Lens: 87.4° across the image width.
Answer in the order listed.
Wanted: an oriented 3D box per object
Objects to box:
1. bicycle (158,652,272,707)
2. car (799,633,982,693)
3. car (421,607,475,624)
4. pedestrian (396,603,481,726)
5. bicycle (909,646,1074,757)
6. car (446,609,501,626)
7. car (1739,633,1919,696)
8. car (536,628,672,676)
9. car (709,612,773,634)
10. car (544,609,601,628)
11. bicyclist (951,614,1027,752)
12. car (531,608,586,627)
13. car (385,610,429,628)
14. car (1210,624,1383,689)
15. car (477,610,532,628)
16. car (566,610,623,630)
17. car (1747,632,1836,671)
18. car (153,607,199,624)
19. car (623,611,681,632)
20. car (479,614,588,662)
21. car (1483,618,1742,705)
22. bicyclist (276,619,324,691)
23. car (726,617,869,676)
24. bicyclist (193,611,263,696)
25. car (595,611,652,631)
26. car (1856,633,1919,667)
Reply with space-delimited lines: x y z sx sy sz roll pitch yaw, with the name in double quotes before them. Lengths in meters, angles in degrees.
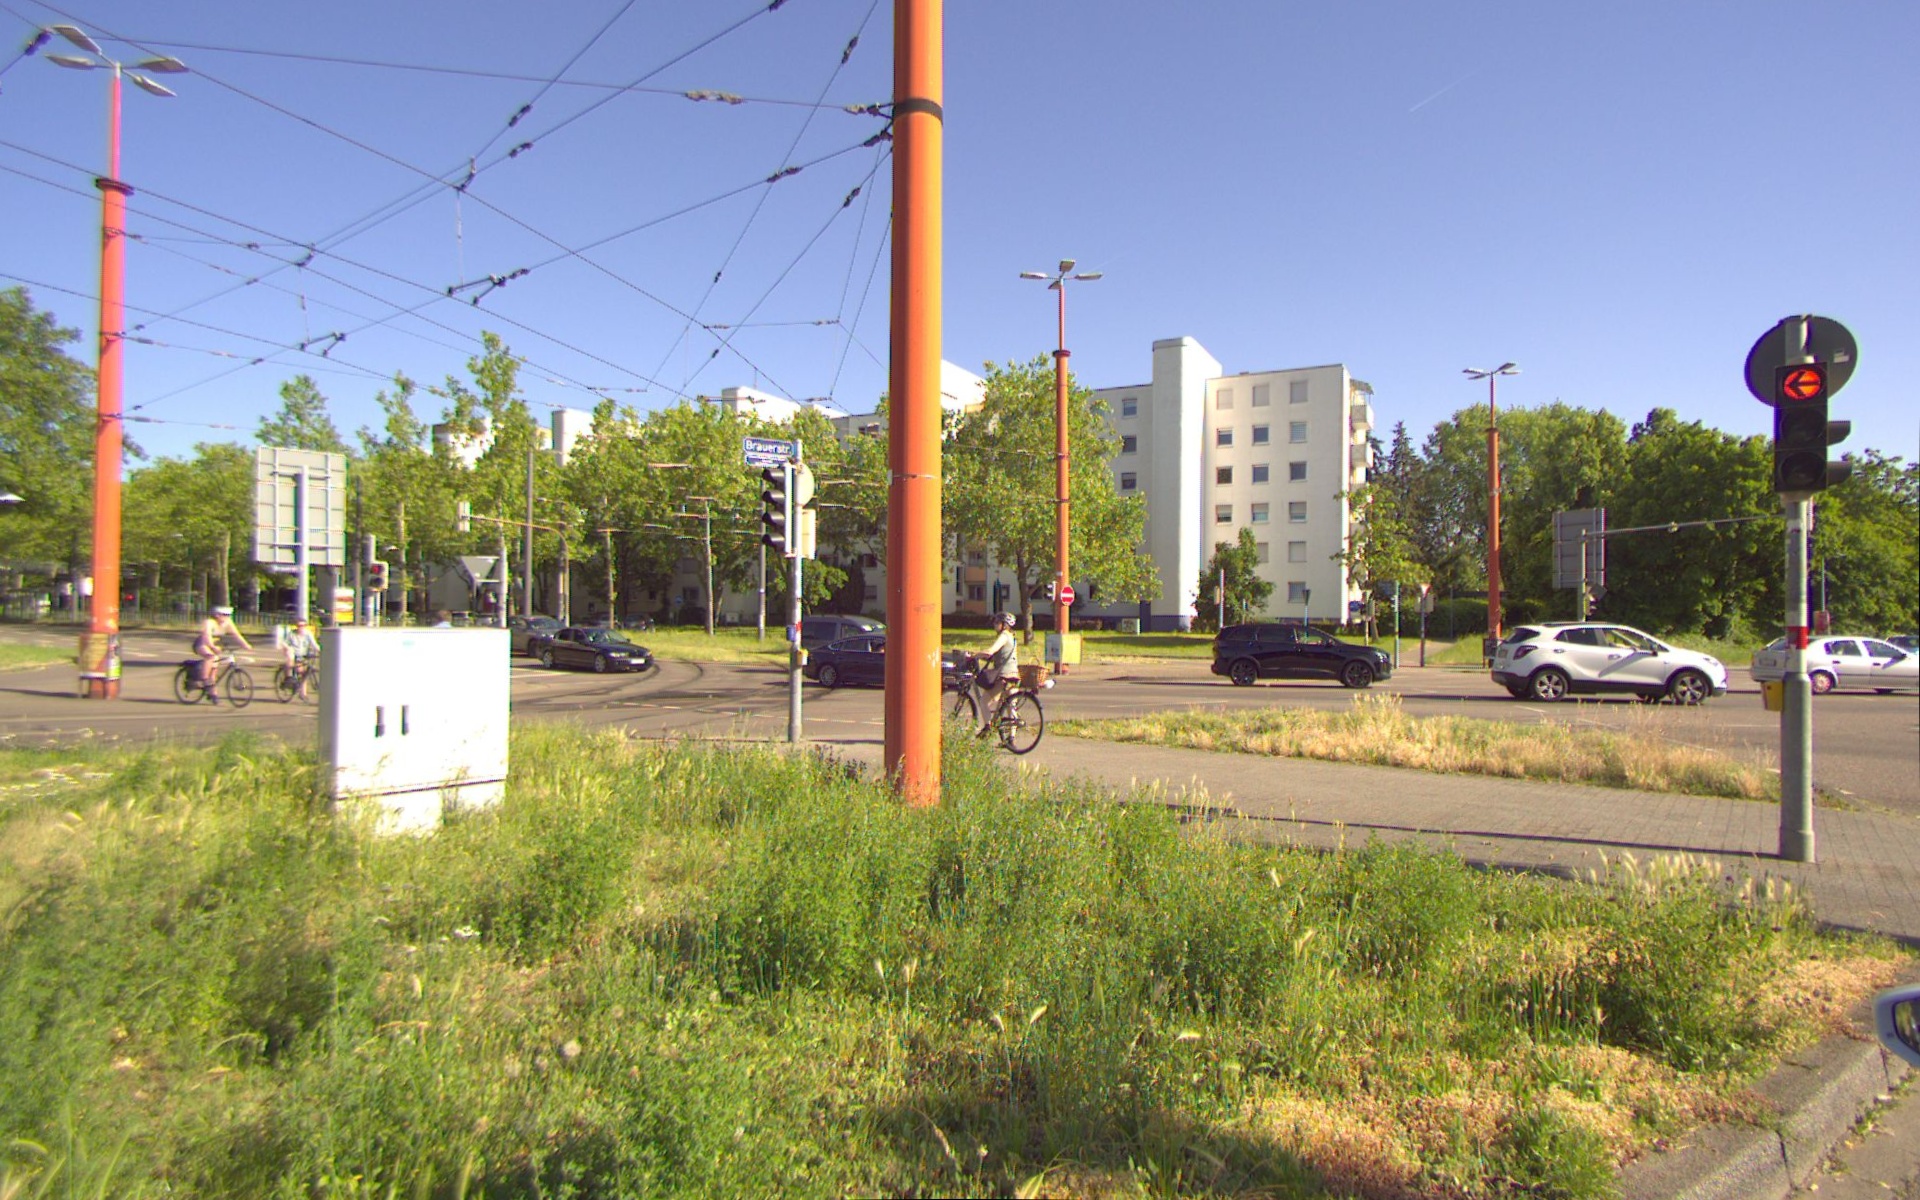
"bicycle" -14.051 1.489 18.962 1.612 0.974 0.685 1 -1 -1
"car" -1.749 1.549 25.462 4.277 1.368 1.765 0 -1 20
"car" -44.786 1.385 87.894 3.935 1.428 1.794 1 -1 -17
"pedestrian" -8.092 0.969 15.573 0.947 1.817 0.976 1 -1 -41
"bicycle" 0.362 1.183 12.190 1.915 1.210 0.690 0 -1 33
"car" -41.432 1.483 85.624 3.935 1.428 1.794 1 -1 -17
"car" 21.483 1.556 24.325 3.919 1.363 1.489 2 -1 8
"car" -11.302 1.598 31.811 4.286 1.368 1.762 0 -1 31
"car" -14.540 1.549 66.840 1.770 1.428 3.987 0 -1 35
"car" -30.073 1.416 78.073 3.934 1.428 1.794 1 -1 -16
"bicyclist" 0.357 0.978 12.196 0.651 1.605 0.671 0 -1 33
"car" -31.935 1.366 79.970 3.935 1.428 1.794 1 -1 -17
"car" -45.905 1.560 83.345 3.938 1.416 1.749 0 -2 38
"car" 8.790 1.451 26.572 4.176 1.566 1.859 0 -1 15
"car" -38.028 1.565 83.883 3.935 1.428 1.794 1 -1 -17
"car" -27.575 1.483 75.919 3.934 1.428 1.794 1 -1 -16
"car" 35.211 2.139 42.512 3.891 1.552 1.752 1 -1 -31
"car" -93.985 1.877 120.456 1.969 2.040 3.984 0 -1 38
"car" -22.253 1.545 72.644 3.934 1.428 1.794 1 -1 -16
"car" -16.452 1.437 38.706 4.233 1.730 1.847 0 -1 33
"car" 13.468 1.237 21.004 4.167 1.658 1.830 0 -1 13
"bicyclist" -13.095 1.084 19.939 0.616 1.399 0.443 1 -1 -1
"car" -5.152 1.441 31.807 4.229 1.730 1.849 0 -1 28
"bicyclist" -13.823 1.008 18.976 0.752 1.565 0.732 1 -1 -1
"car" -24.993 1.554 74.694 3.934 1.428 1.794 1 -1 -16
"car" 37.158 1.960 39.618 3.571 1.260 1.730 1 -1 -31
